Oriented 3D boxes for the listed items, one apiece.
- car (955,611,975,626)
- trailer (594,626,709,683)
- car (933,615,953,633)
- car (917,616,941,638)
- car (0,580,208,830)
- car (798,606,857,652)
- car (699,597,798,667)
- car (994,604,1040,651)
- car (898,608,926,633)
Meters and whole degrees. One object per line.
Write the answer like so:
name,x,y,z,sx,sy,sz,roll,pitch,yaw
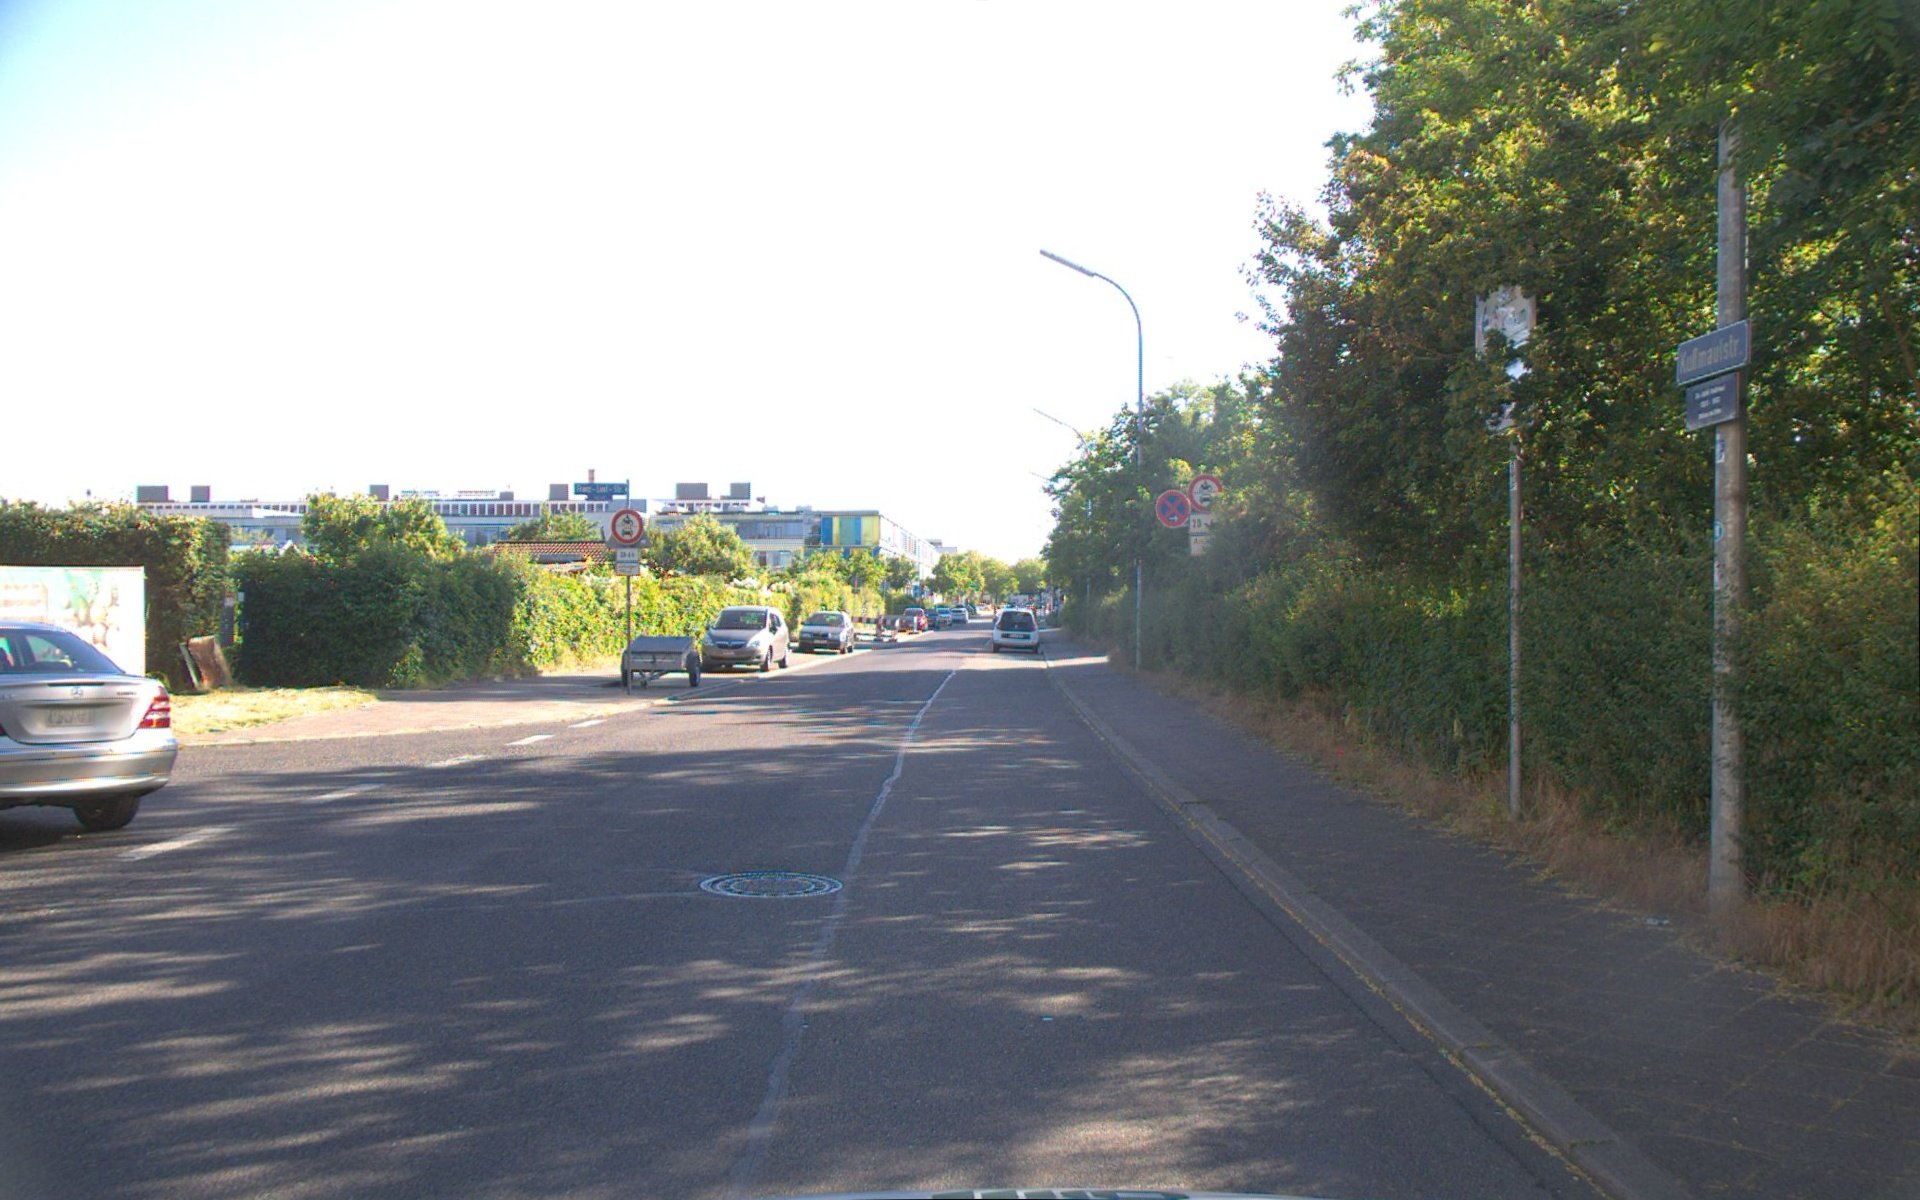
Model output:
car,0.515,1.902,171.423,1.816,1.453,4.135,3,-1,2
trailer,-5.944,1.040,32.105,1.512,0.970,2.648,3,-1,5
car,-1.425,2.072,142.088,1.527,1.521,3.759,1,-1,2
car,-2.351,2.058,125.033,1.527,1.521,3.571,4,-1,2
car,-7.068,0.627,11.298,3.917,1.478,1.738,0,-1,34
car,-4.774,1.047,60.129,1.609,1.583,4.418,1,-1,2
car,-5.361,0.818,42.418,1.609,1.628,4.313,3,-1,4
car,2.071,1.003,59.857,1.523,1.565,3.556,3,-1,2
car,-3.069,1.326,106.693,1.527,1.521,3.571,1,-1,2
